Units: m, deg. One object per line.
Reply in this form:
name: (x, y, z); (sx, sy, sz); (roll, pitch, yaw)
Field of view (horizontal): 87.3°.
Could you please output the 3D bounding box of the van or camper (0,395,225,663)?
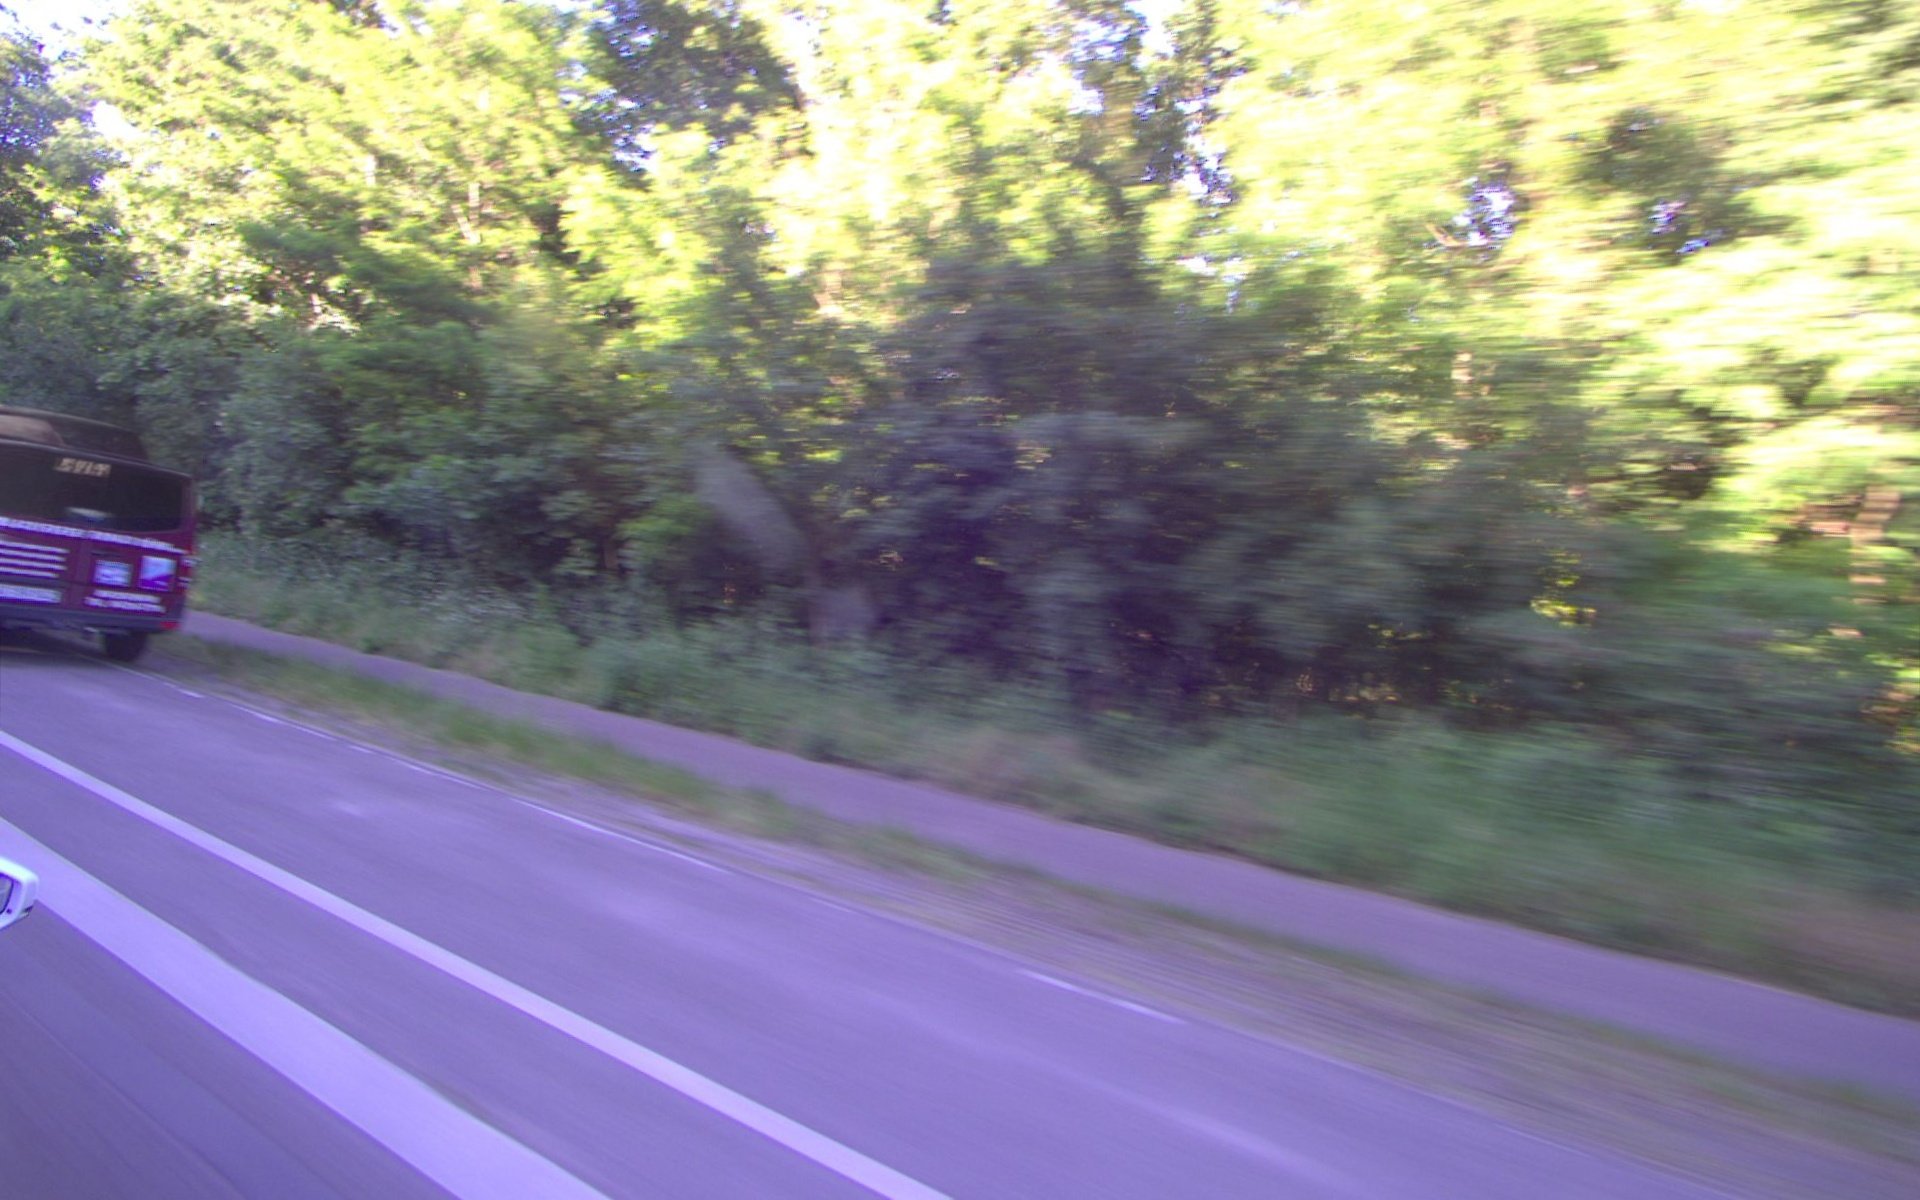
van or camper: (-10.690, -0.891, 10.976); (5.939, 2.341, 2.037); (7, 1, 31)
